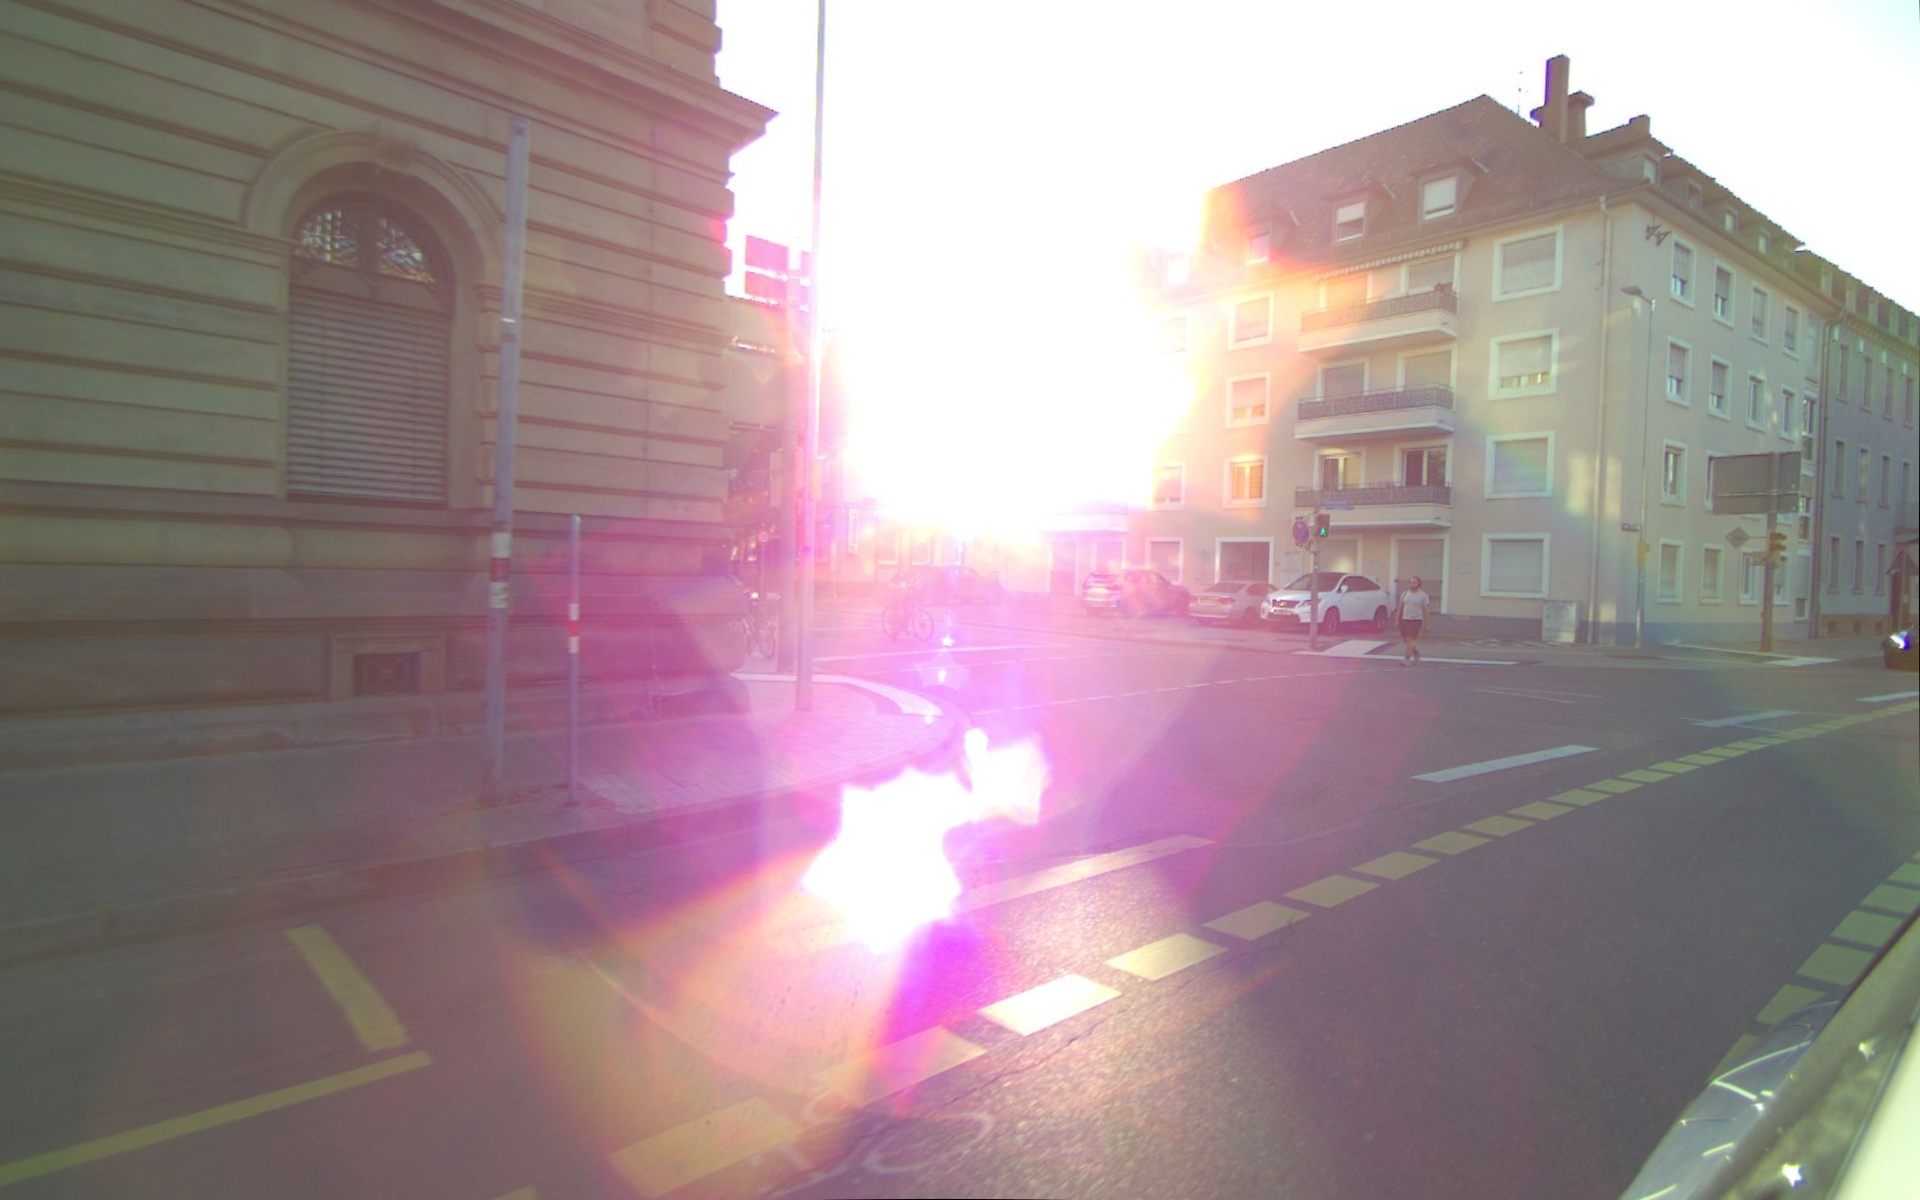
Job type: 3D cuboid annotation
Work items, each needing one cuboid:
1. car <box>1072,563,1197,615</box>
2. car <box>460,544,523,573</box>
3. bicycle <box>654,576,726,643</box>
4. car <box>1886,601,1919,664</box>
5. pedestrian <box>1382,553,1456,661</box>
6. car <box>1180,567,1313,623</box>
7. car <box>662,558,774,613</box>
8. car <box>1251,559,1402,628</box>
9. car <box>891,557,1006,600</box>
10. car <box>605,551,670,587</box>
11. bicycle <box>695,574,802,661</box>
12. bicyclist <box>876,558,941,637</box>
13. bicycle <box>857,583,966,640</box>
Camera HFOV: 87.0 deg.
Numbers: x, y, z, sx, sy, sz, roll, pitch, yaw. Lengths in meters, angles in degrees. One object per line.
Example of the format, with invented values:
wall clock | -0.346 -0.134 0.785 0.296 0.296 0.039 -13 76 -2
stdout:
car | 5.882 -0.411 33.916 3.984 1.565 2.010 -2 4 -39
car | -34.293 -3.026 74.156 3.922 2.038 2.001 0 2 -33
bicycle | -5.223 0.167 19.492 0.683 1.159 1.728 4 0 -37
car | 22.214 0.690 22.123 4.277 1.317 2.184 0 0 -37
pedestrian | 8.933 0.123 19.708 0.973 2.038 0.789 1 1 -20
car | 8.670 -0.162 30.479 3.956 1.532 1.924 0 2 -39
car | -7.832 -0.530 32.582 1.976 1.529 4.015 -2 5 -39
car | 10.343 -0.208 28.446 4.395 1.771 1.999 0 2 -39
car | -0.434 -0.937 41.603 4.441 1.616 2.010 -2 4 -39
car | -17.187 -1.646 53.826 1.964 1.816 3.906 0 2 -39
bicycle | -3.521 0.267 16.735 0.846 1.222 2.057 5 1 -37
bicyclist | -1.127 -0.071 22.062 0.952 1.653 1.044 0 2 -41
bicycle | -1.099 0.219 22.038 0.960 1.118 2.580 0 2 -41
